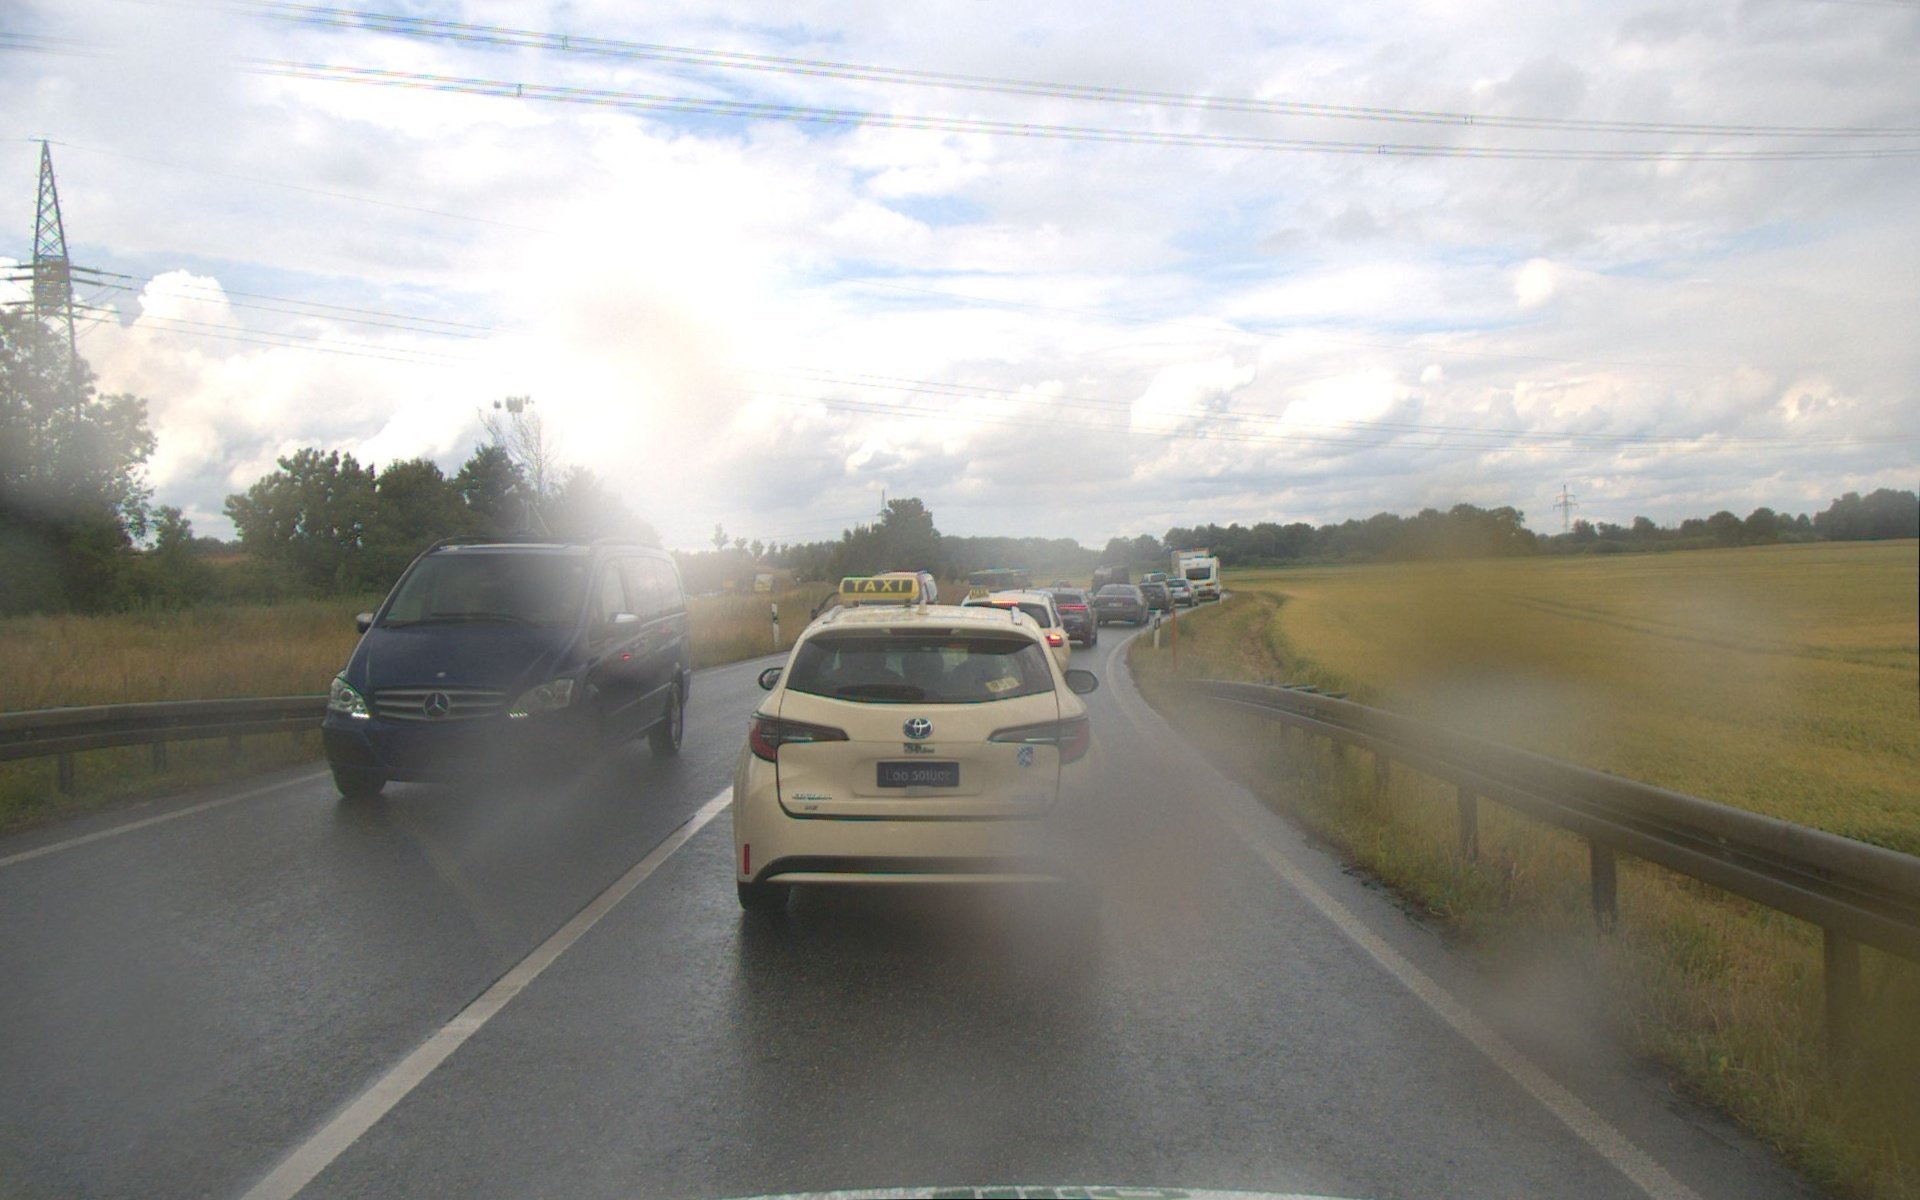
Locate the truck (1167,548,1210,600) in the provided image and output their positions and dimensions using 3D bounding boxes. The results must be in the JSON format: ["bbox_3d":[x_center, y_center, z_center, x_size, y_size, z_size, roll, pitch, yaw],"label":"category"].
[{"bbox_3d":[18.243,-2.021,132.427,3.060,3.920,7.391,1,0,6],"label":"truck"}]

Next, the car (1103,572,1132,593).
[{"bbox_3d":[15.818,-1.711,166.269,1.708,2.049,4.136,1,0,-11],"label":"car"}]

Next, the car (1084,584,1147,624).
[{"bbox_3d":[5.886,0.156,62.190,1.918,1.438,4.396,1,0,11],"label":"car"}]

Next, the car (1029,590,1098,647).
[{"bbox_3d":[2.794,0.478,43.937,1.578,1.438,3.741,1,0,7],"label":"car"}]

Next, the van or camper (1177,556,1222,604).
[{"bbox_3d":[15.109,-1.269,104.164,2.482,2.946,6.749,1,1,11],"label":"van or camper"}]

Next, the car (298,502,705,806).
[{"bbox_3d":[-3.494,0.357,13.684,1.922,2.049,4.861,1,0,1],"label":"car"}]

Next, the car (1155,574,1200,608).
[{"bbox_3d":[11.794,-0.450,89.451,1.918,1.759,3.741,1,0,15],"label":"car"}]

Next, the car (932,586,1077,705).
[{"bbox_3d":[0.747,0.575,24.044,1.802,1.518,4.611,1,1,5],"label":"car"}]

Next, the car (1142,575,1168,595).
[{"bbox_3d":[17.890,-1.379,151.716,1.844,1.804,4.159,1,0,-1],"label":"car"}]

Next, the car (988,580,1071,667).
[{"bbox_3d":[1.506,0.478,34.743,1.579,1.688,3.740,1,0,5],"label":"car"}]

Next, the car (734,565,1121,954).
[{"bbox_3d":[-0.162,0.670,8.716,1.580,1.589,3.737,1,0,-1],"label":"car"}]

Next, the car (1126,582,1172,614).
[{"bbox_3d":[9.025,-0.089,78.868,1.786,1.438,3.741,1,0,13],"label":"car"}]

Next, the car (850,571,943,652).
[{"bbox_3d":[-1.517,0.288,41.001,1.763,1.883,4.523,0,0,5],"label":"car"}]
